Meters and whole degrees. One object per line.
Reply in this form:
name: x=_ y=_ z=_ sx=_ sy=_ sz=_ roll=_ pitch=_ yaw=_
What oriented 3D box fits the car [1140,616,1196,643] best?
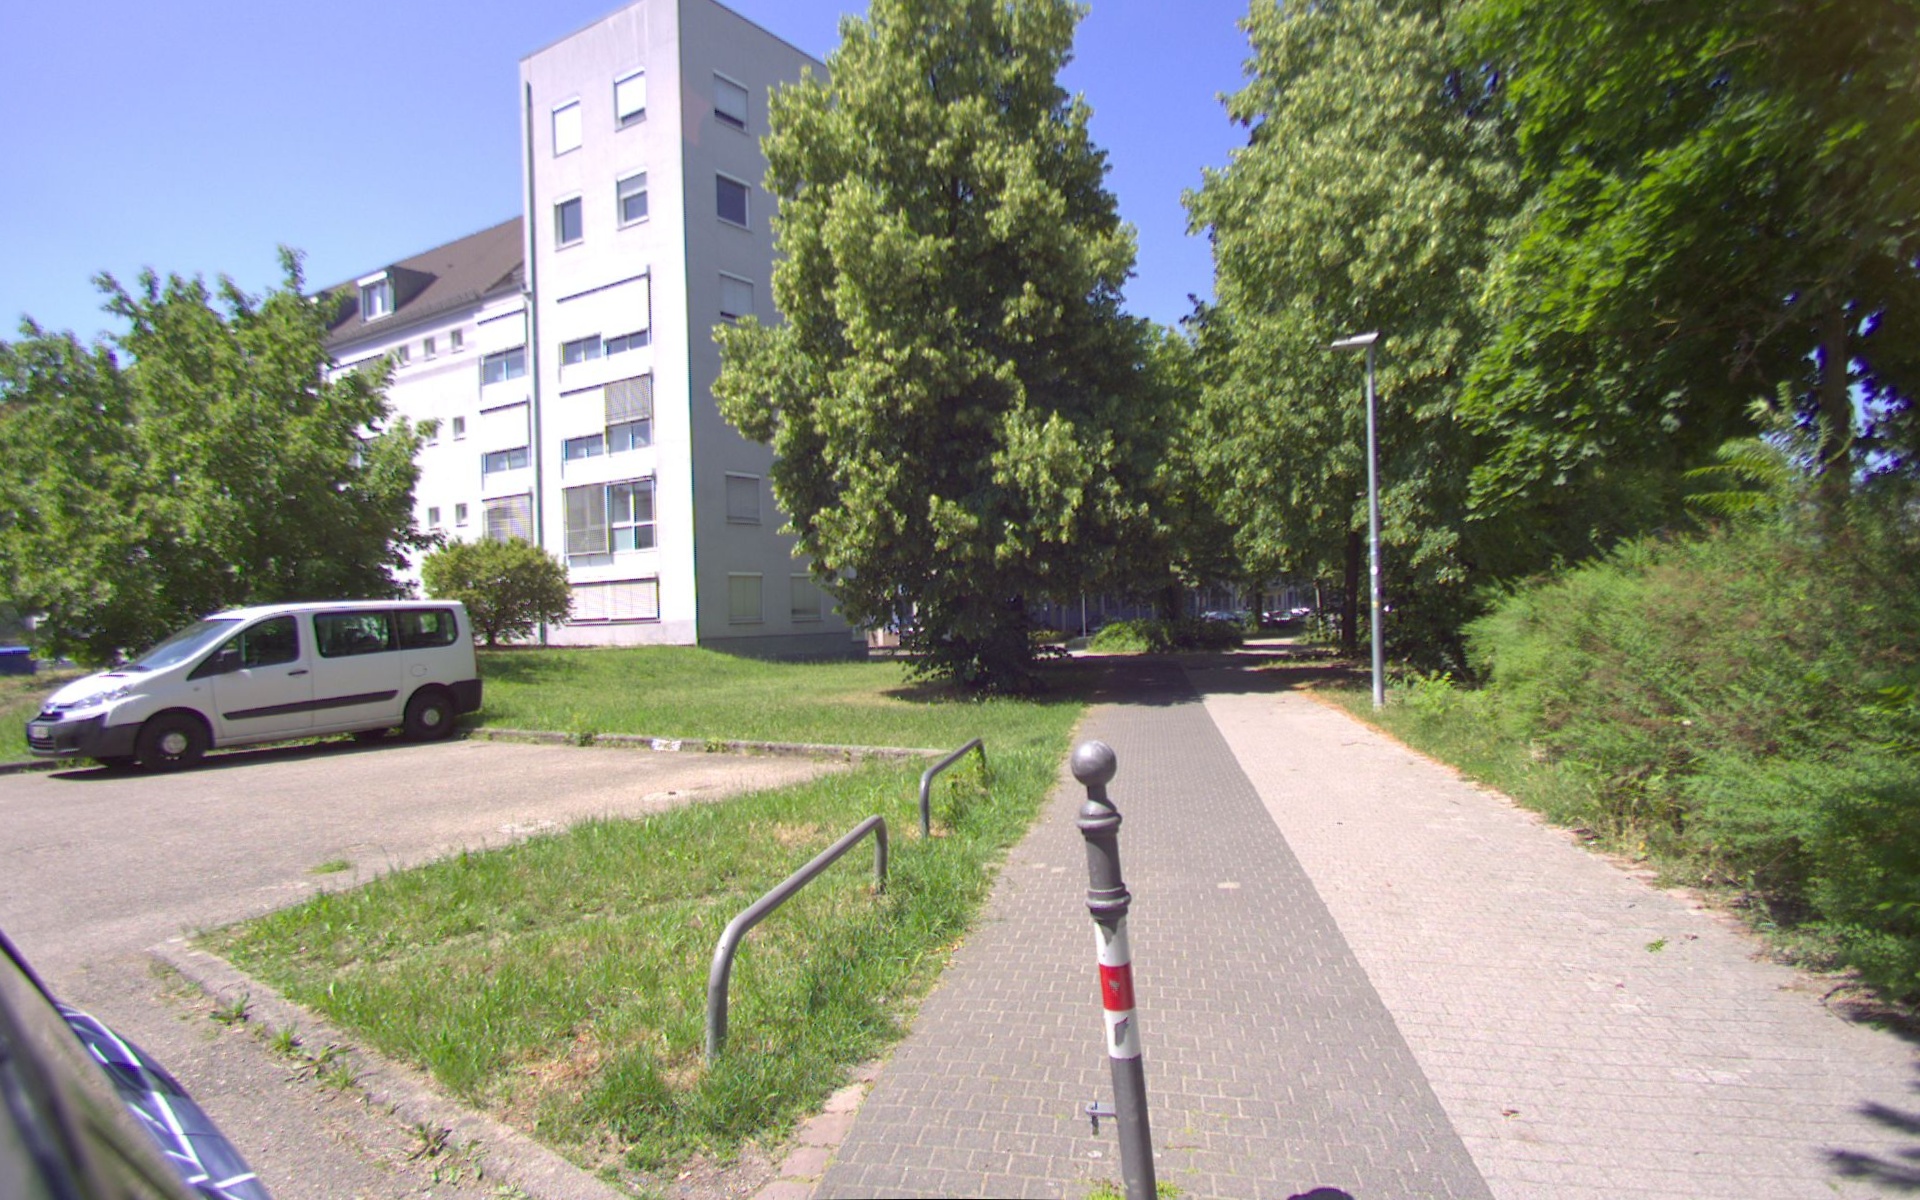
car: x=13.586 y=1.894 z=66.045 sx=1.973 sy=1.630 sz=4.119 roll=-2 pitch=-1 yaw=37

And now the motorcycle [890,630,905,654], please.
motorcycle: x=-3.234 y=2.165 z=52.386 sx=0.690 sy=1.176 sz=2.304 roll=-2 pitch=-1 yaw=-2

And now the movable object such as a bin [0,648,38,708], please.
movable object such as a bin: x=-22.342 y=1.818 z=23.451 sx=1.102 sy=1.338 sz=1.242 roll=-3 pitch=-1 yaw=37

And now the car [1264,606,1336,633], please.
car: x=18.167 y=1.037 z=54.027 sx=3.478 sy=1.253 sz=1.739 roll=-3 pitch=-1 yaw=23

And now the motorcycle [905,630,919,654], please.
motorcycle: x=-2.476 y=2.178 z=52.512 sx=0.690 sy=1.176 sz=2.312 roll=-2 pitch=-1 yaw=-2

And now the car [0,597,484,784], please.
car: x=-8.922 y=1.004 z=13.010 sx=1.994 sy=1.926 sz=4.751 roll=-4 pitch=-2 yaw=32

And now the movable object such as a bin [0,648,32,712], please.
movable object such as a bin: x=-21.160 y=1.761 z=22.014 sx=1.102 sy=1.338 sz=1.242 roll=-3 pitch=-1 yaw=37

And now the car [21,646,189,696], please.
car: x=-28.195 y=2.304 z=33.479 sx=1.706 sy=1.447 sz=3.954 roll=-3 pitch=-2 yaw=33

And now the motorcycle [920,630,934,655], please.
motorcycle: x=-1.718 y=2.197 z=52.588 sx=0.690 sy=1.176 sz=2.334 roll=-2 pitch=-1 yaw=-2
